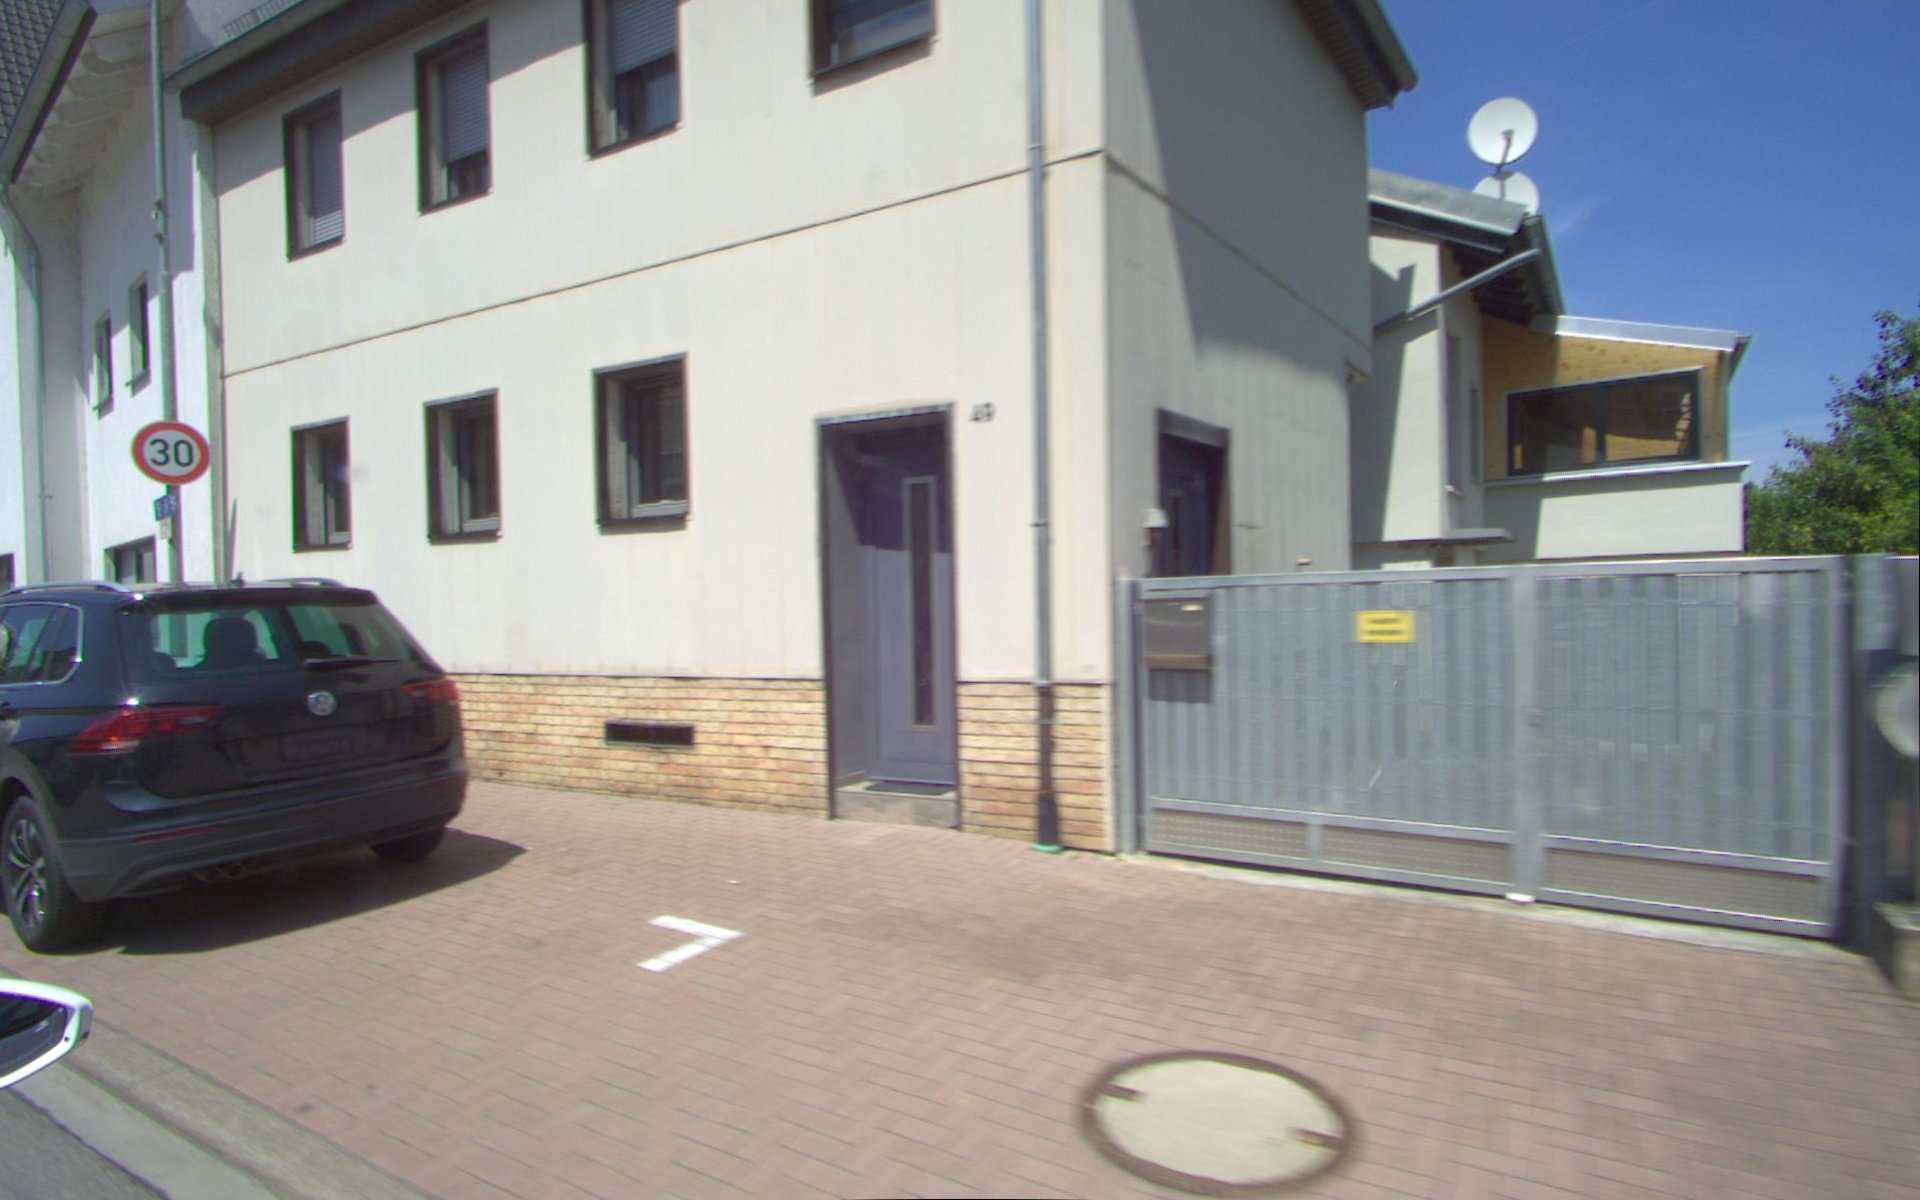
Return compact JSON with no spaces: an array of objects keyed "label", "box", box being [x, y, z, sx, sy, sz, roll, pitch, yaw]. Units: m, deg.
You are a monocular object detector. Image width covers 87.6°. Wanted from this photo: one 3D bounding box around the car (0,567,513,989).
[{"label":"car","box":[-4.812,0.700,5.836,4.483,1.636,1.798,-1,2,32]}]
